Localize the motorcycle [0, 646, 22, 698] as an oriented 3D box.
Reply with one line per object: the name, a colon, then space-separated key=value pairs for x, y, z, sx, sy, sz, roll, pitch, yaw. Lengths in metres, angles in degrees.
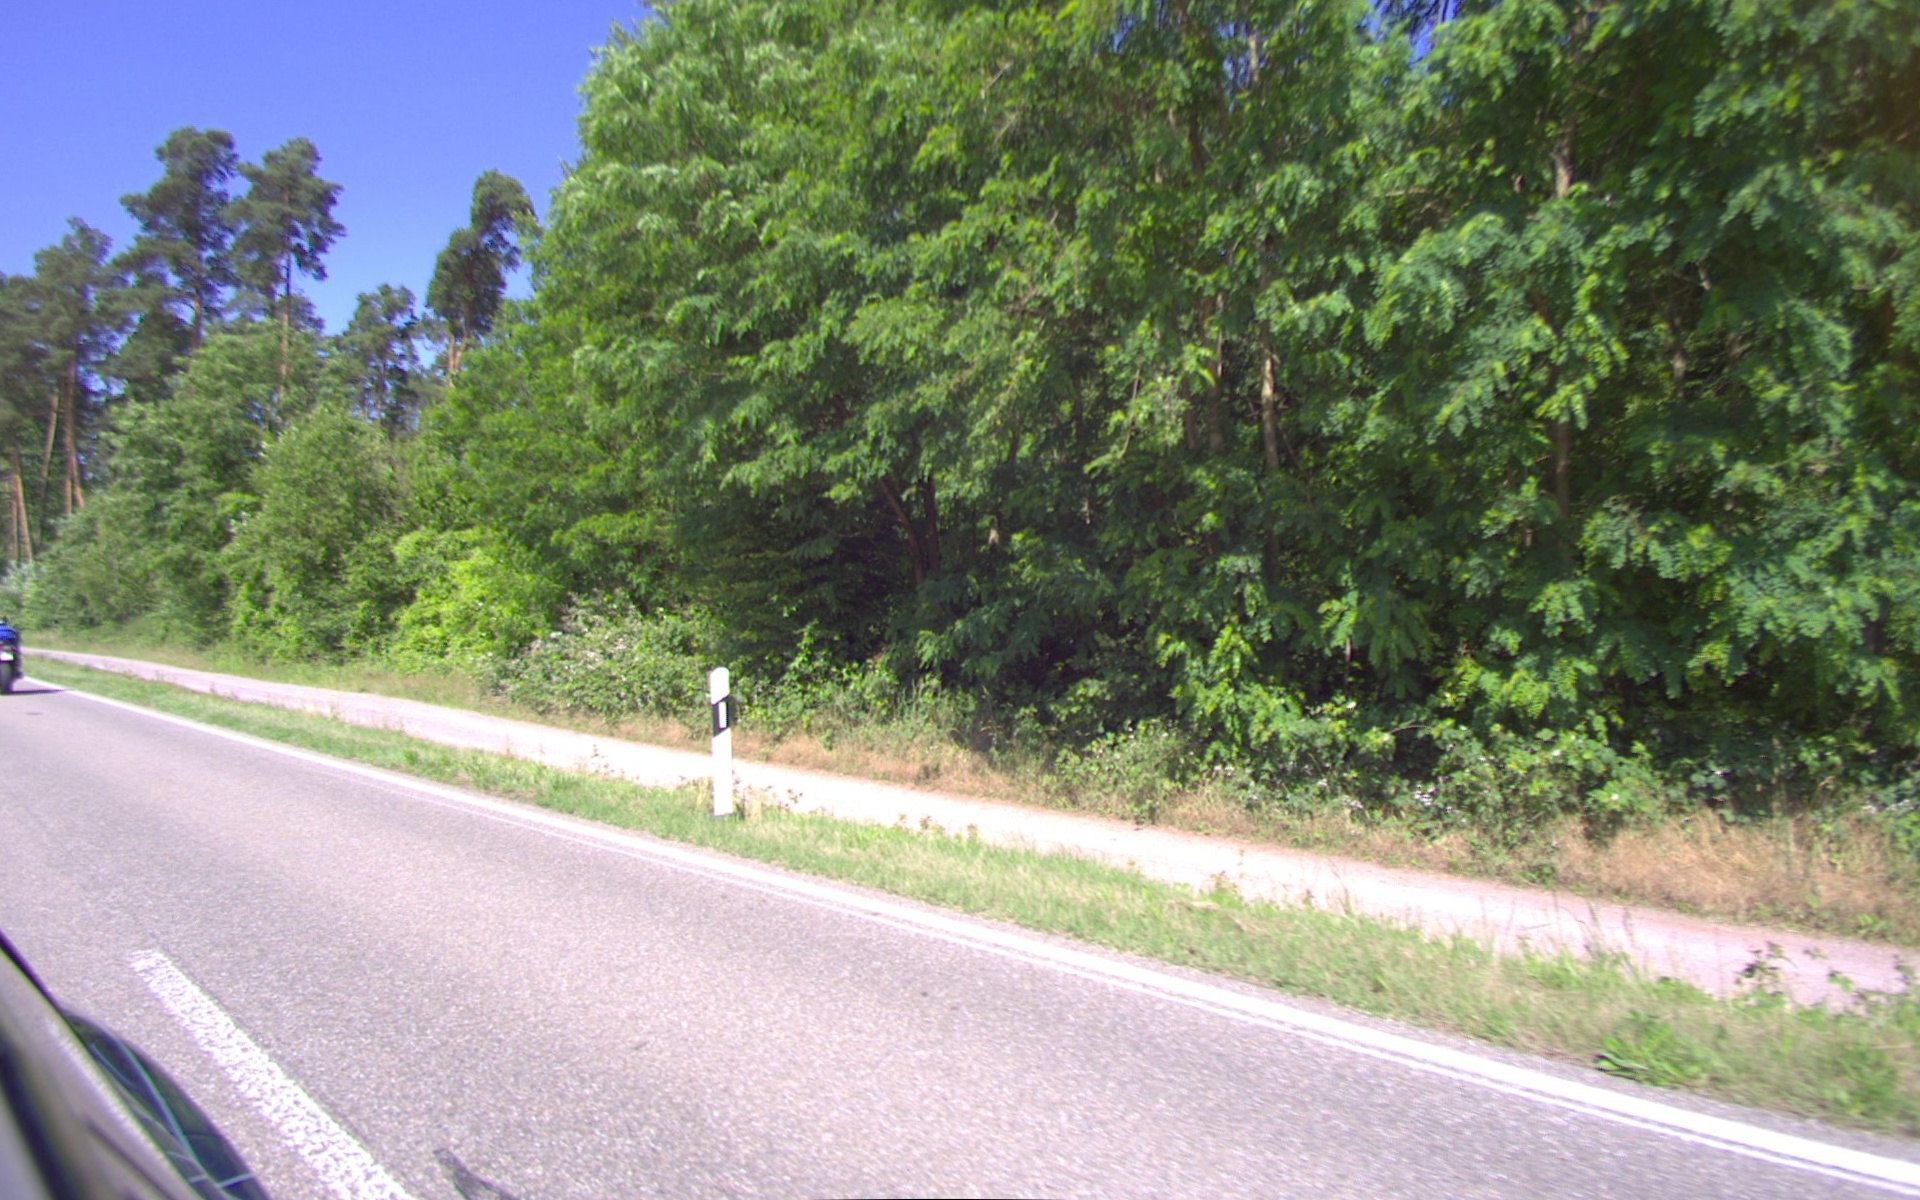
motorcycle: x=-19.768 y=1.459 z=20.686 sx=2.005 sy=0.992 sz=0.632 roll=-1 pitch=-2 yaw=41

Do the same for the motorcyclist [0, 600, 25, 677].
motorcyclist: x=-19.572 y=0.779 z=20.551 sx=0.813 sy=1.540 sz=0.653 roll=-1 pitch=-5 yaw=39
